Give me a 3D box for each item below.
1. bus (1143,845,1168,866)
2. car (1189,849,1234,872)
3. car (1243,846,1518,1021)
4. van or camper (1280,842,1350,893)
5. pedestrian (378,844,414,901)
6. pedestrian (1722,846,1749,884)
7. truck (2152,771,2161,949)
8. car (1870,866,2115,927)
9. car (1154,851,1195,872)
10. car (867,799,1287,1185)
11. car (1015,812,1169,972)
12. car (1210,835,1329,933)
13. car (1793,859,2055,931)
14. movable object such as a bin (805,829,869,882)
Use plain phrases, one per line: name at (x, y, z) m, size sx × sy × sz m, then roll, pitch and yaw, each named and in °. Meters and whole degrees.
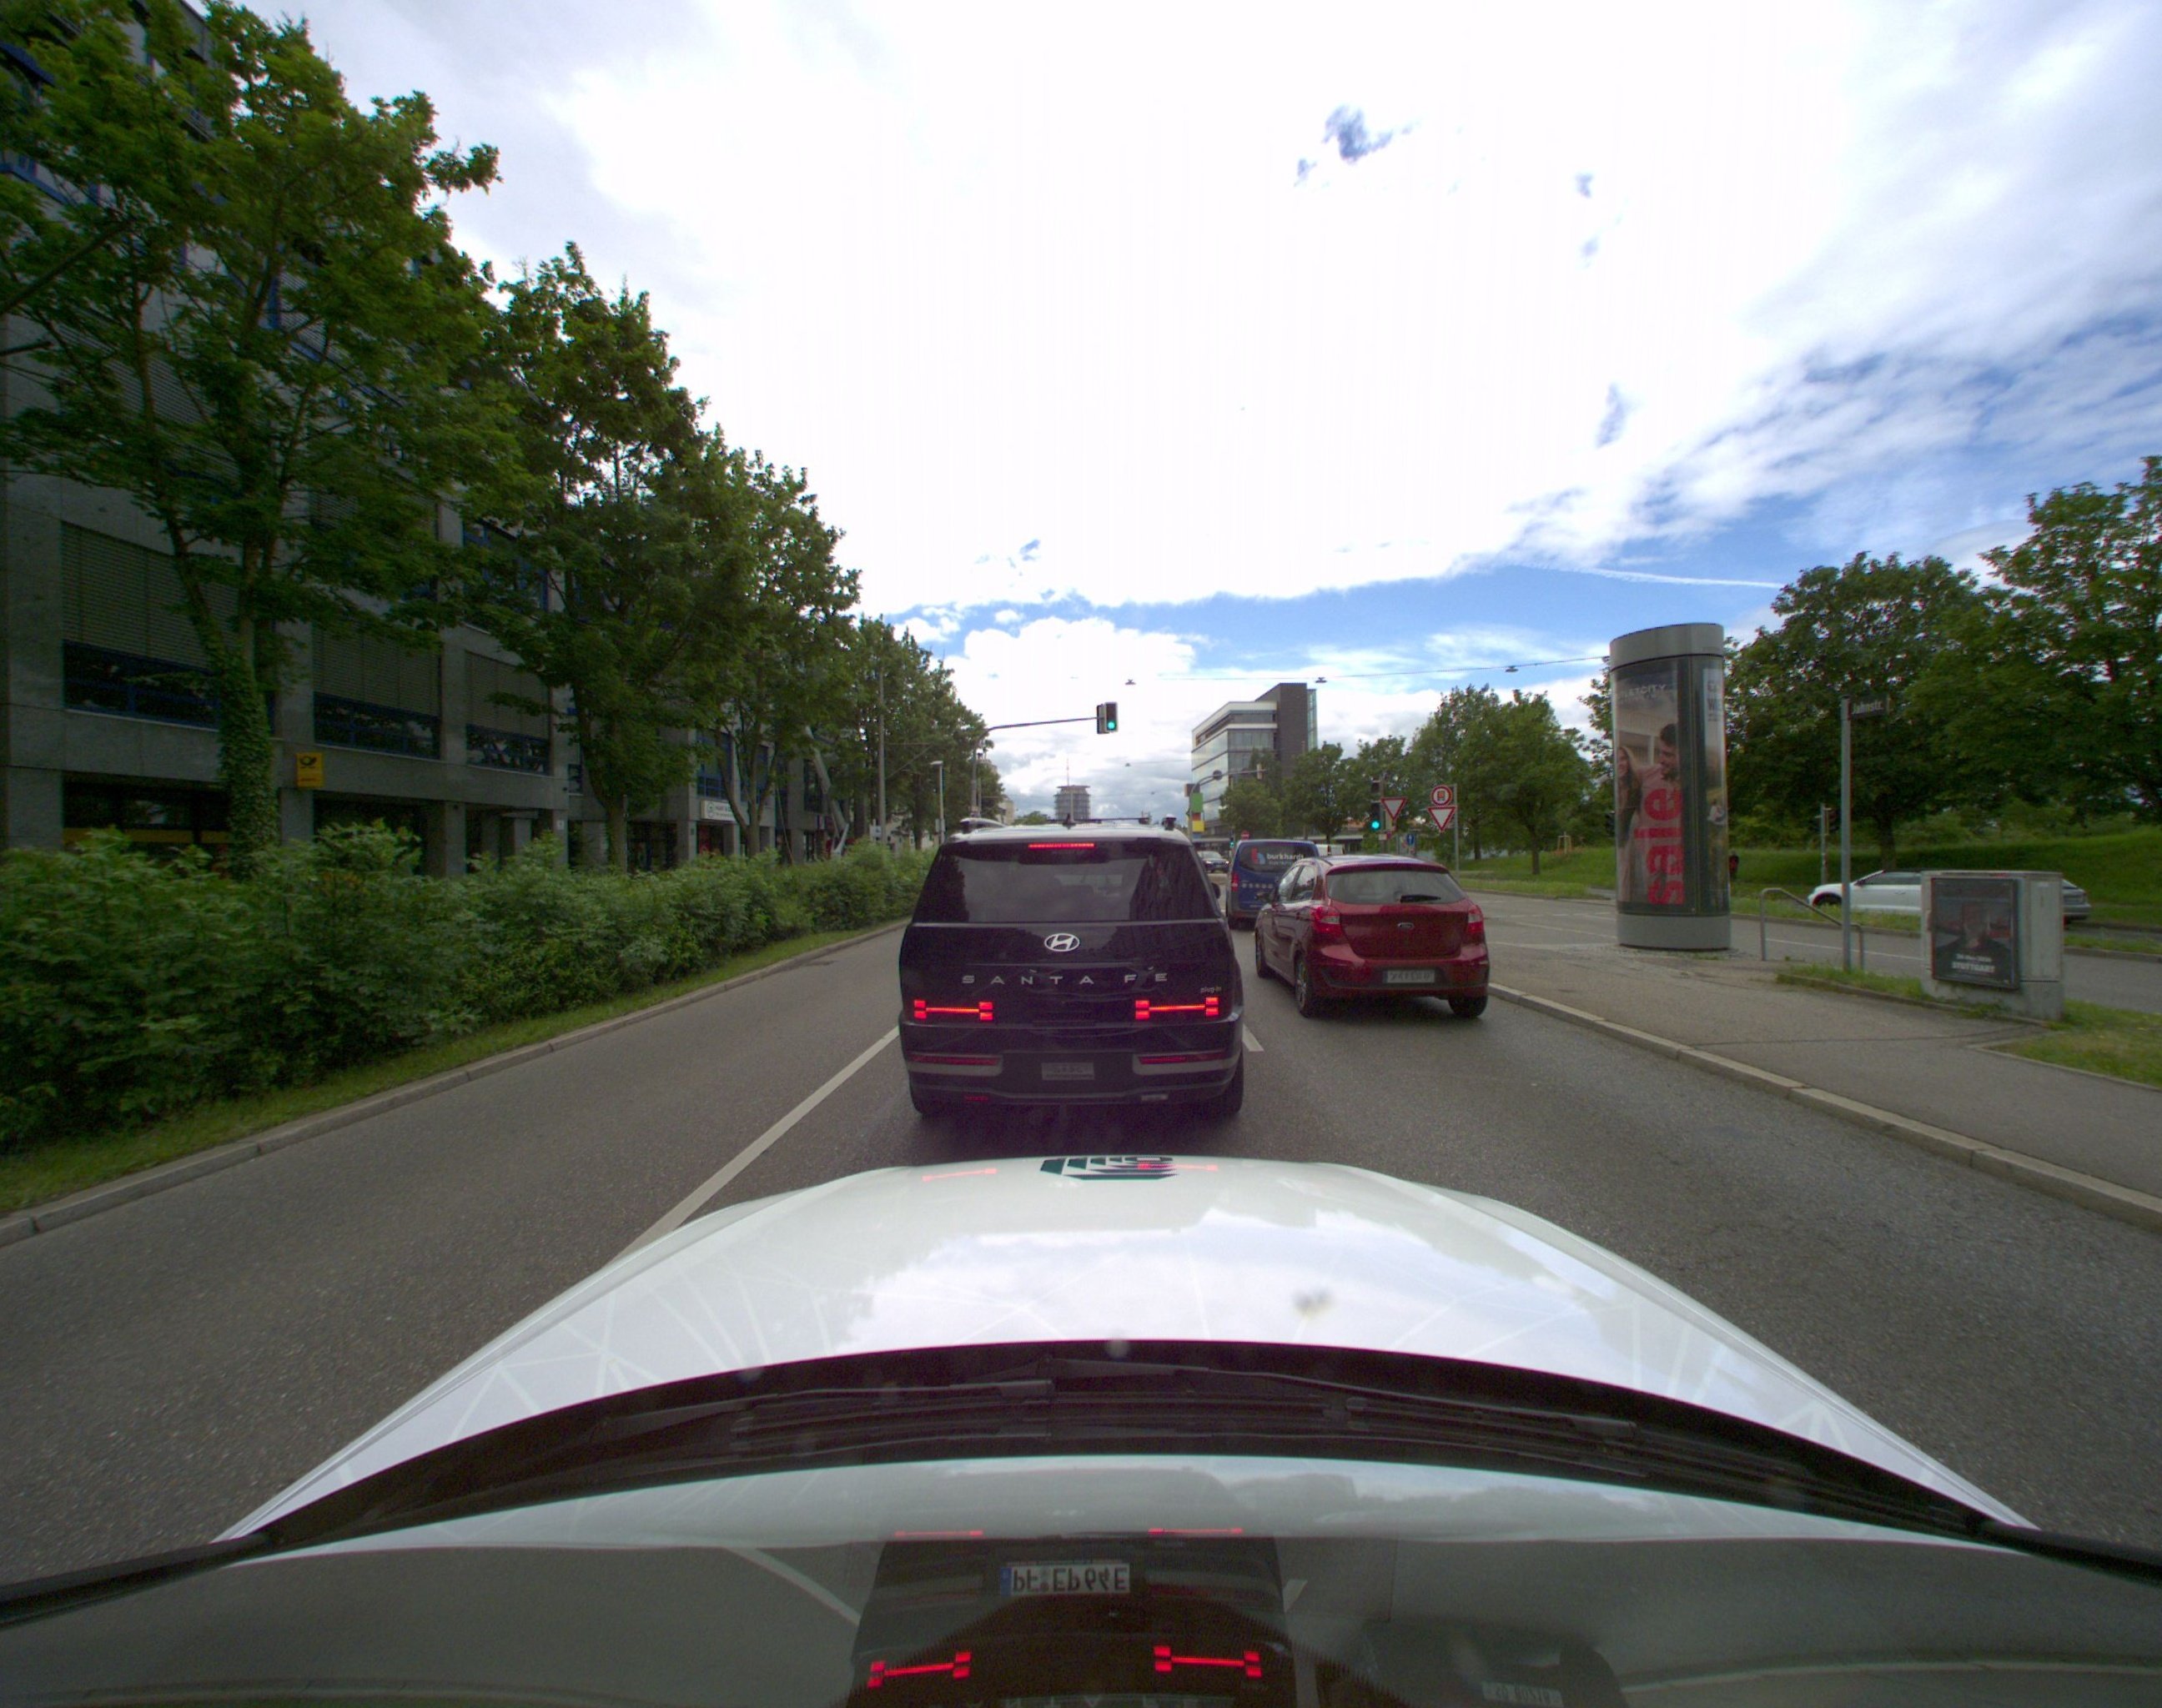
bus at (12.102, 0.319, 133.151) m, size 2.958 × 3.116 × 9.238 m, roll -2°, pitch -1°, yaw -1°
car at (9.526, 0.441, 59.901) m, size 1.889 × 1.564 × 4.380 m, roll 0°, pitch 1°, yaw -11°
car at (2.906, 0.665, 8.764) m, size 1.738 × 1.481 × 3.721 m, roll 0°, pitch 0°, yaw 2°
van or camper at (9.574, 0.471, 33.071) m, size 1.975 × 1.917 × 4.435 m, roll 0°, pitch 1°, yaw 27°
pedestrian at (-16.472, 0.443, 19.599) m, size 0.364 × 1.334 × 0.558 m, roll 2°, pitch 0°, yaw -3°
pedestrian at (28.804, 0.484, 35.848) m, size 0.539 × 1.604 × 0.702 m, roll -5°, pitch 1°, yaw -1°
truck at (26.221, 0.159, 13.866) m, size 2.821 × 3.925 × 9.420 m, roll 0°, pitch 0°, yaw -12°
car at (25.008, 1.093, 22.588) m, size 1.984 × 1.442 × 4.143 m, roll 0°, pitch 0°, yaw -11°
car at (6.688, 0.509, 58.701) m, size 1.782 × 1.425 × 4.382 m, roll 0°, pitch 1°, yaw -9°
car at (0.051, 0.616, 5.913) m, size 1.895 × 1.731 × 4.448 m, roll 0°, pitch 0°, yaw 2°
car at (0.382, 0.459, 12.435) m, size 1.892 × 1.969 × 4.644 m, roll 0°, pitch 0°, yaw 6°
car at (3.991, 0.571, 17.987) m, size 1.893 × 1.859 × 4.715 m, roll 0°, pitch 0°, yaw 5°
car at (21.630, 0.968, 21.222) m, size 1.850 × 1.529 × 4.472 m, roll 0°, pitch 1°, yaw -11°
movable object such as a bin at (-12.245, 0.049, 41.193) m, size 1.898 × 2.531 × 4.128 m, roll 0°, pitch 0°, yaw 1°
